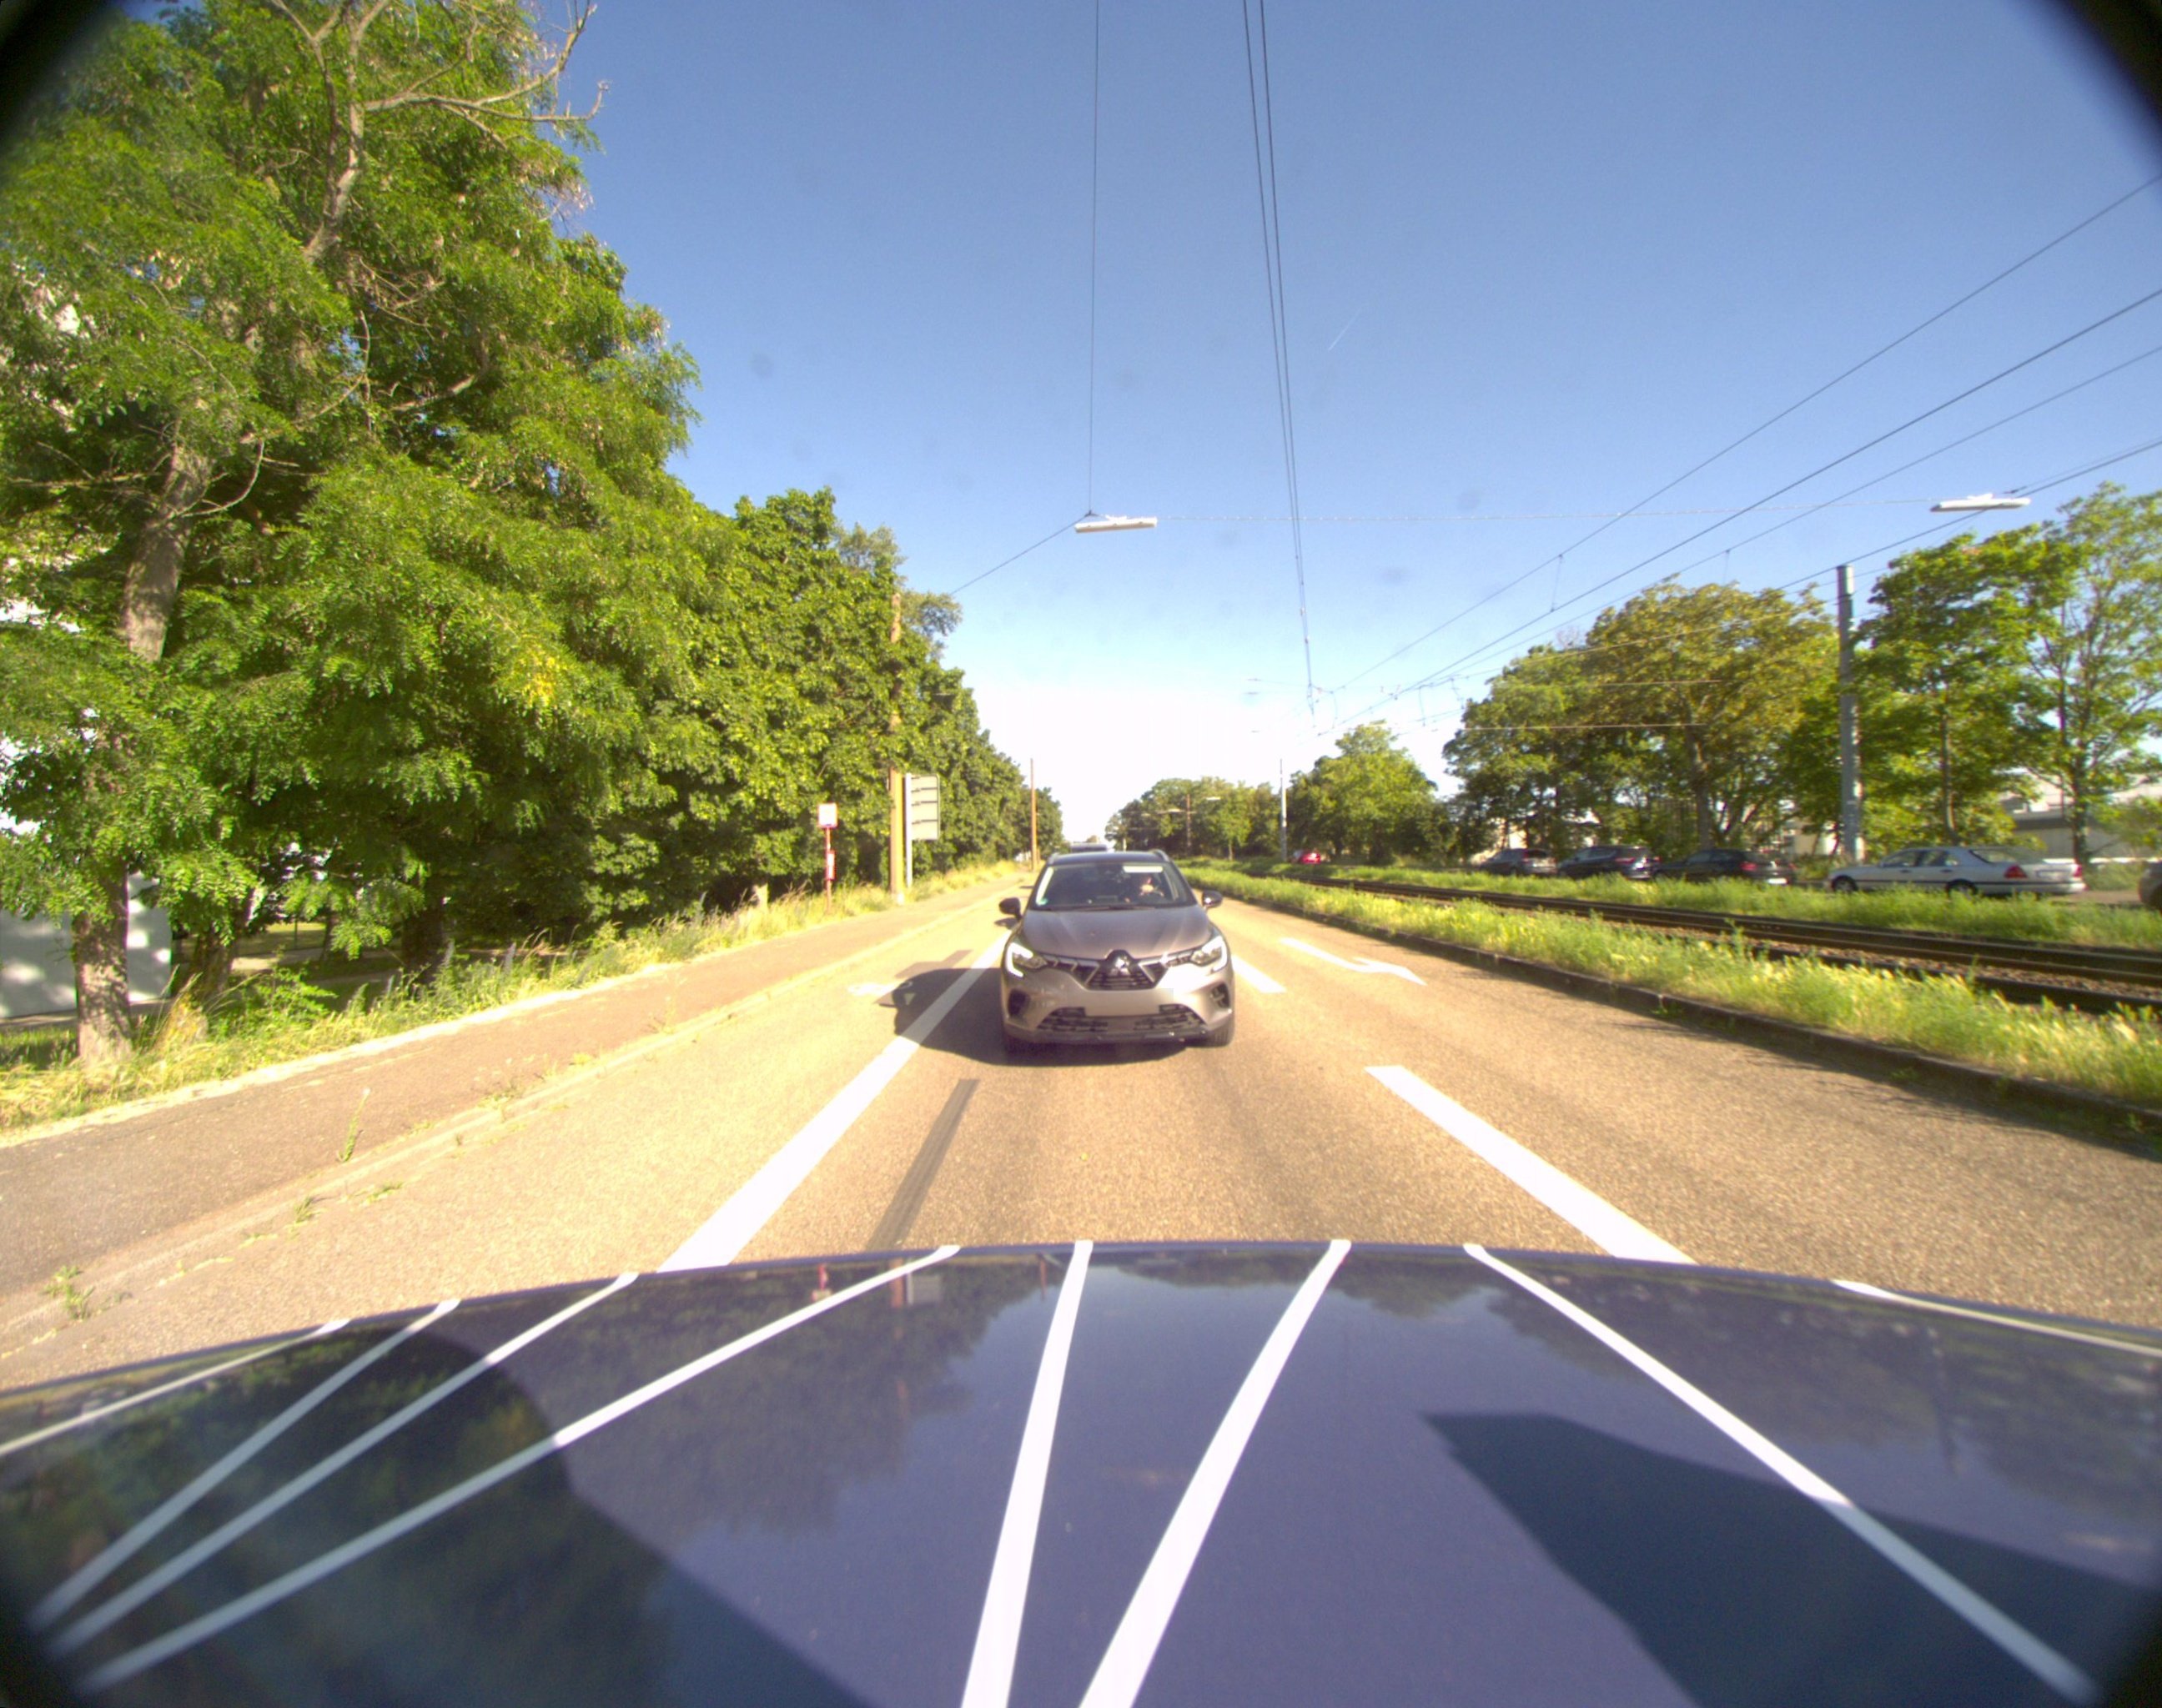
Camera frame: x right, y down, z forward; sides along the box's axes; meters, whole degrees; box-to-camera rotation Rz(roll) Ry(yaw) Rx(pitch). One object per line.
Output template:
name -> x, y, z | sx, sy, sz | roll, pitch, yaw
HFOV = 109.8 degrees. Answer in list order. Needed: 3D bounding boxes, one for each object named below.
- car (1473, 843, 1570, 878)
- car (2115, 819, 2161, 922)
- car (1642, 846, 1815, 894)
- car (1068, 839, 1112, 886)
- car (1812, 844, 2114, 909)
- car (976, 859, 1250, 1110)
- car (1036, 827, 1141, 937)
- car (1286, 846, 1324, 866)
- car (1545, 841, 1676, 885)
car -> 21.559, 0.328, 37.423 | 2.130, 1.554, 4.560 | -2, 0, 0
car -> 21.240, 0.276, 12.466 | 2.207, 1.923, 4.685 | -2, 0, 2
car -> 21.340, 0.490, 25.344 | 1.960, 1.417, 4.488 | -2, 0, 1
car -> 0.396, 0.449, 38.360 | 1.999, 2.198, 4.786 | -1, -1, -1
car -> 21.540, 0.507, 18.950 | 2.130, 1.372, 4.616 | -2, 0, -1
car -> 0.176, 0.882, 7.332 | 1.796, 1.583, 4.529 | -1, 0, -1
car -> 0.173, 0.557, 17.019 | 1.998, 2.113, 4.000 | -2, 0, 1
car -> 20.994, 0.187, 71.482 | 2.321, 1.723, 4.798 | -2, 0, 3
car -> 21.301, 0.344, 30.841 | 2.130, 1.578, 4.616 | -2, 0, 1
